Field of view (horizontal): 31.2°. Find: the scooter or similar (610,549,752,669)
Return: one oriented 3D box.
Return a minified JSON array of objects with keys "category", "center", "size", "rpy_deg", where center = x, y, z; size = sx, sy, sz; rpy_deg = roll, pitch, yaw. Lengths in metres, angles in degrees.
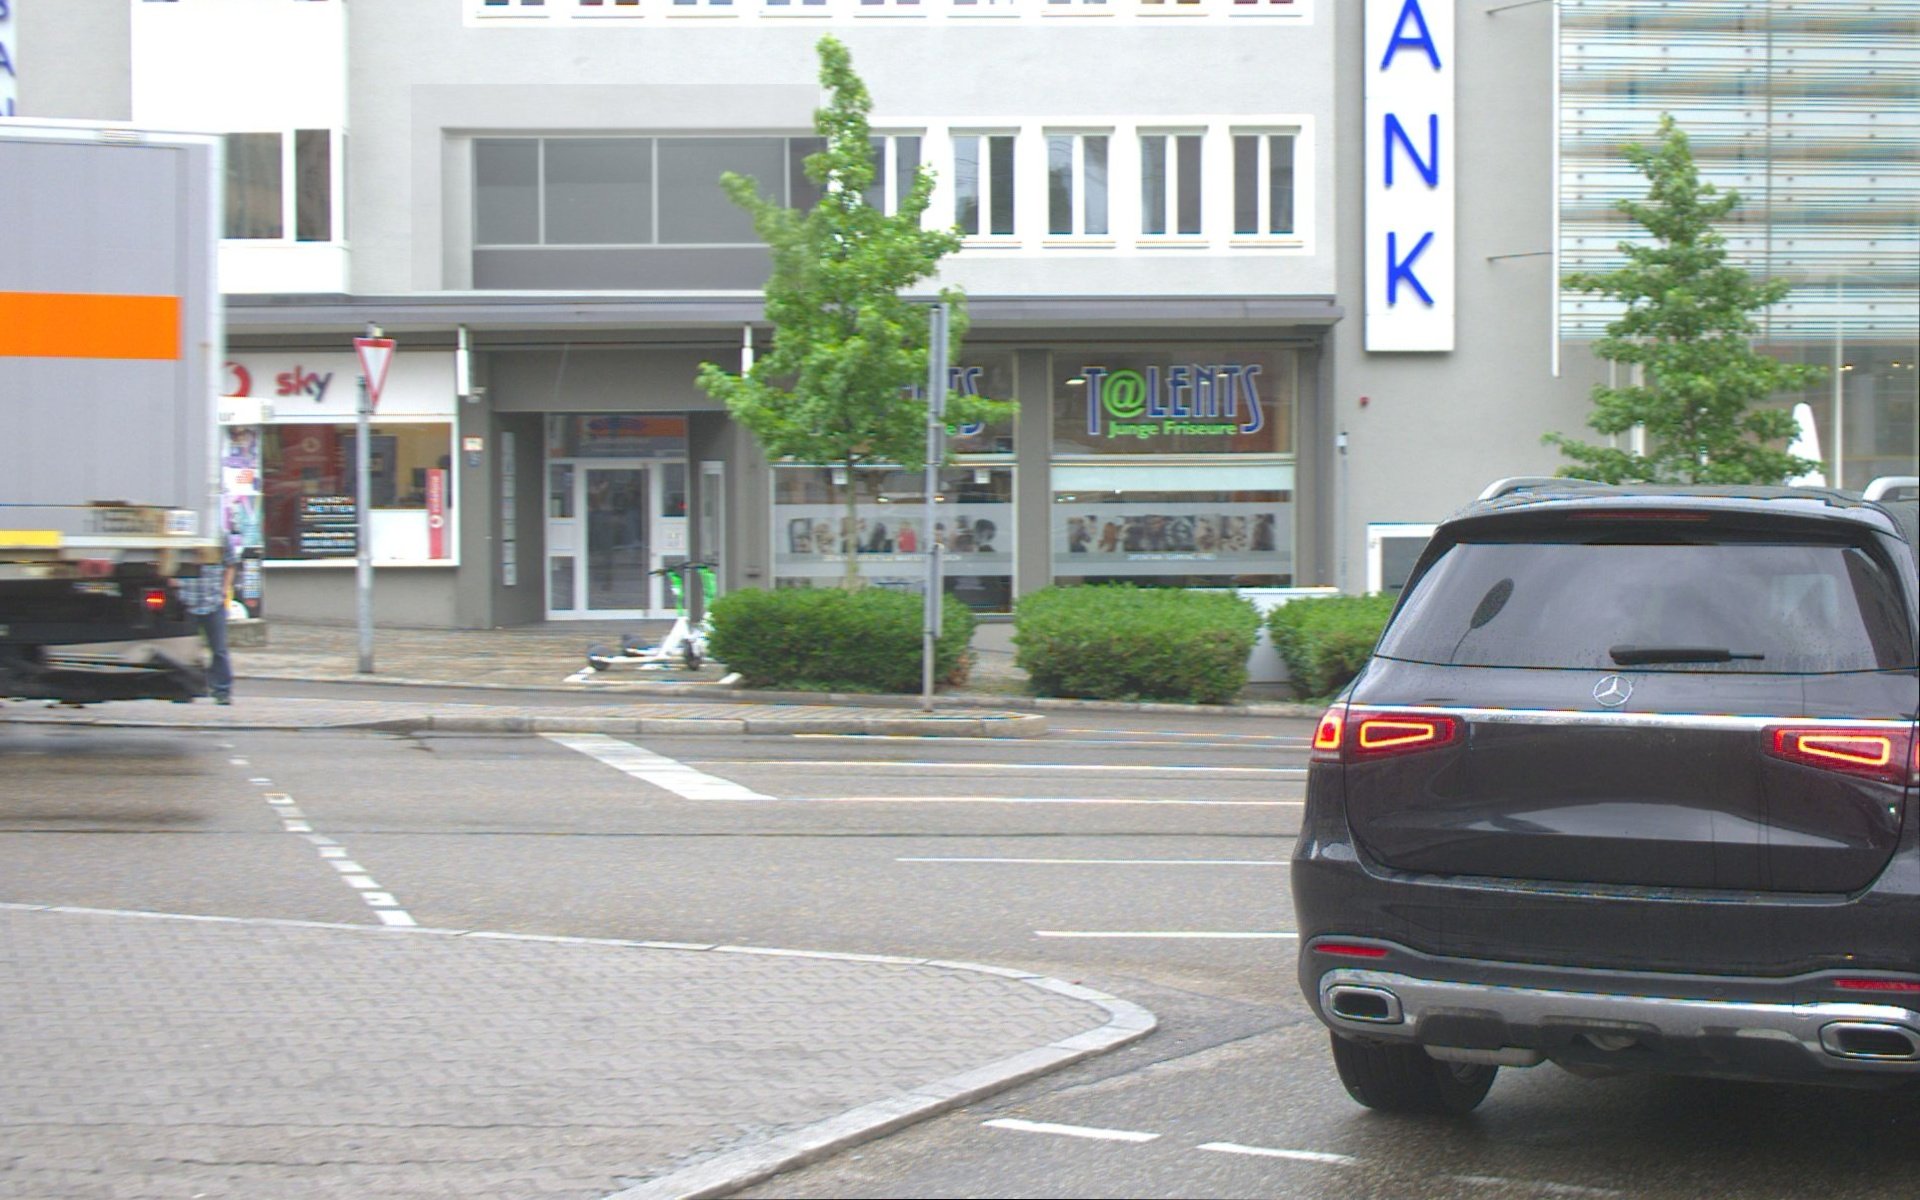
[{"category":"scooter or similar","center":[-3.165,0.093,39.104],"size":[1.497,1.252,0.931],"rpy_deg":[1,4,2]}]

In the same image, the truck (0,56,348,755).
[{"category":"truck","center":[-9.485,-1.273,21.597],"size":[10.733,4.318,2.857],"rpy_deg":[1,1,-19]}]

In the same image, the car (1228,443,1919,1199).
[{"category":"car","center":[2.703,0.557,10.403],"size":[2.090,1.811,4.785],"rpy_deg":[2,1,26]}]

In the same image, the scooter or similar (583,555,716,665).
[{"category":"scooter or similar","center":[-3.369,0.108,37.383],"size":[1.380,1.183,0.544],"rpy_deg":[0,1,2]}]

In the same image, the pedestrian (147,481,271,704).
[{"category":"pedestrian","center":[-6.079,-0.064,27.832],"size":[0.829,1.772,0.618],"rpy_deg":[2,1,-23]}]
